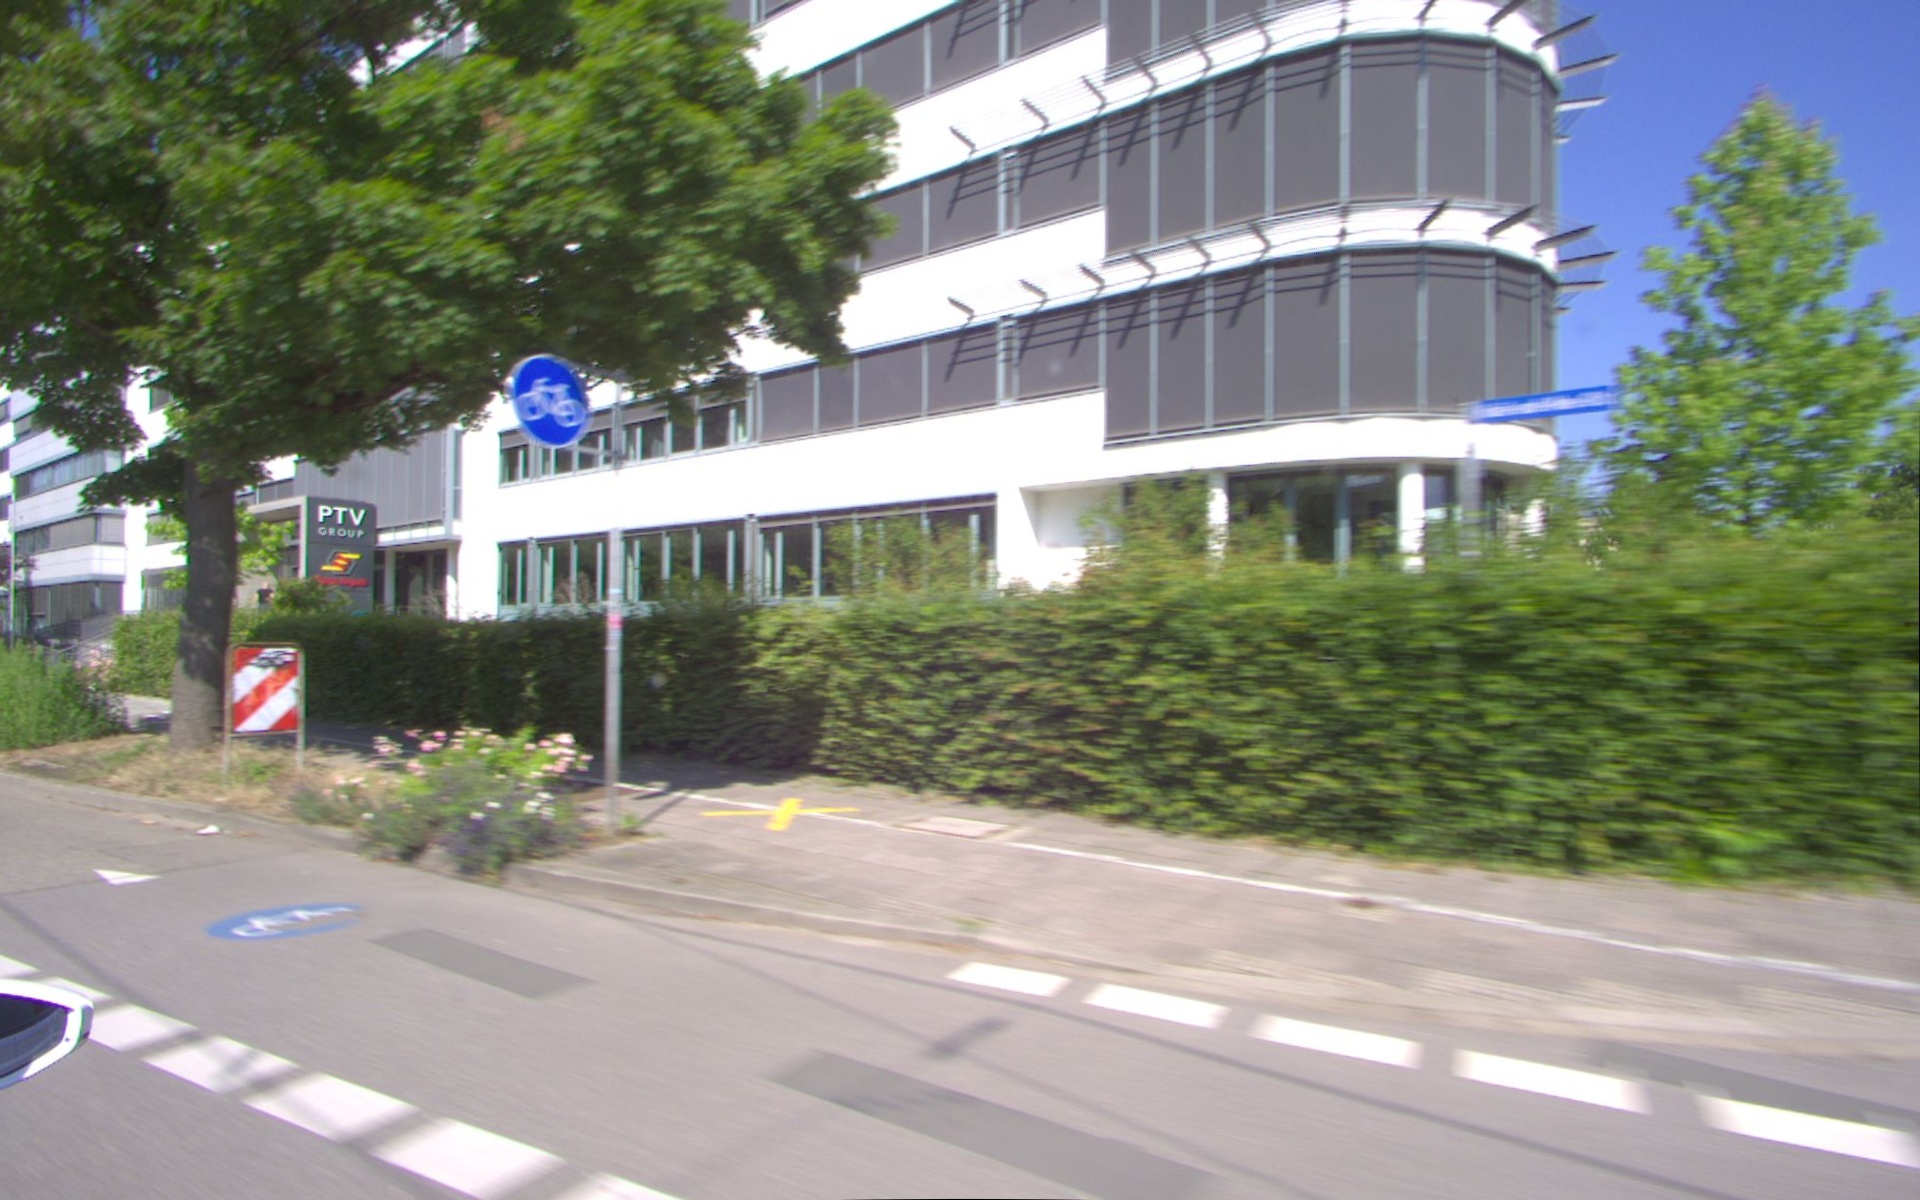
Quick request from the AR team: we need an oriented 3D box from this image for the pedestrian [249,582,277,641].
[{"bbox_3d":[-20.828,0.352,29.930,0.540,1.750,0.497,-1,-2,36],"label":"pedestrian"}]
